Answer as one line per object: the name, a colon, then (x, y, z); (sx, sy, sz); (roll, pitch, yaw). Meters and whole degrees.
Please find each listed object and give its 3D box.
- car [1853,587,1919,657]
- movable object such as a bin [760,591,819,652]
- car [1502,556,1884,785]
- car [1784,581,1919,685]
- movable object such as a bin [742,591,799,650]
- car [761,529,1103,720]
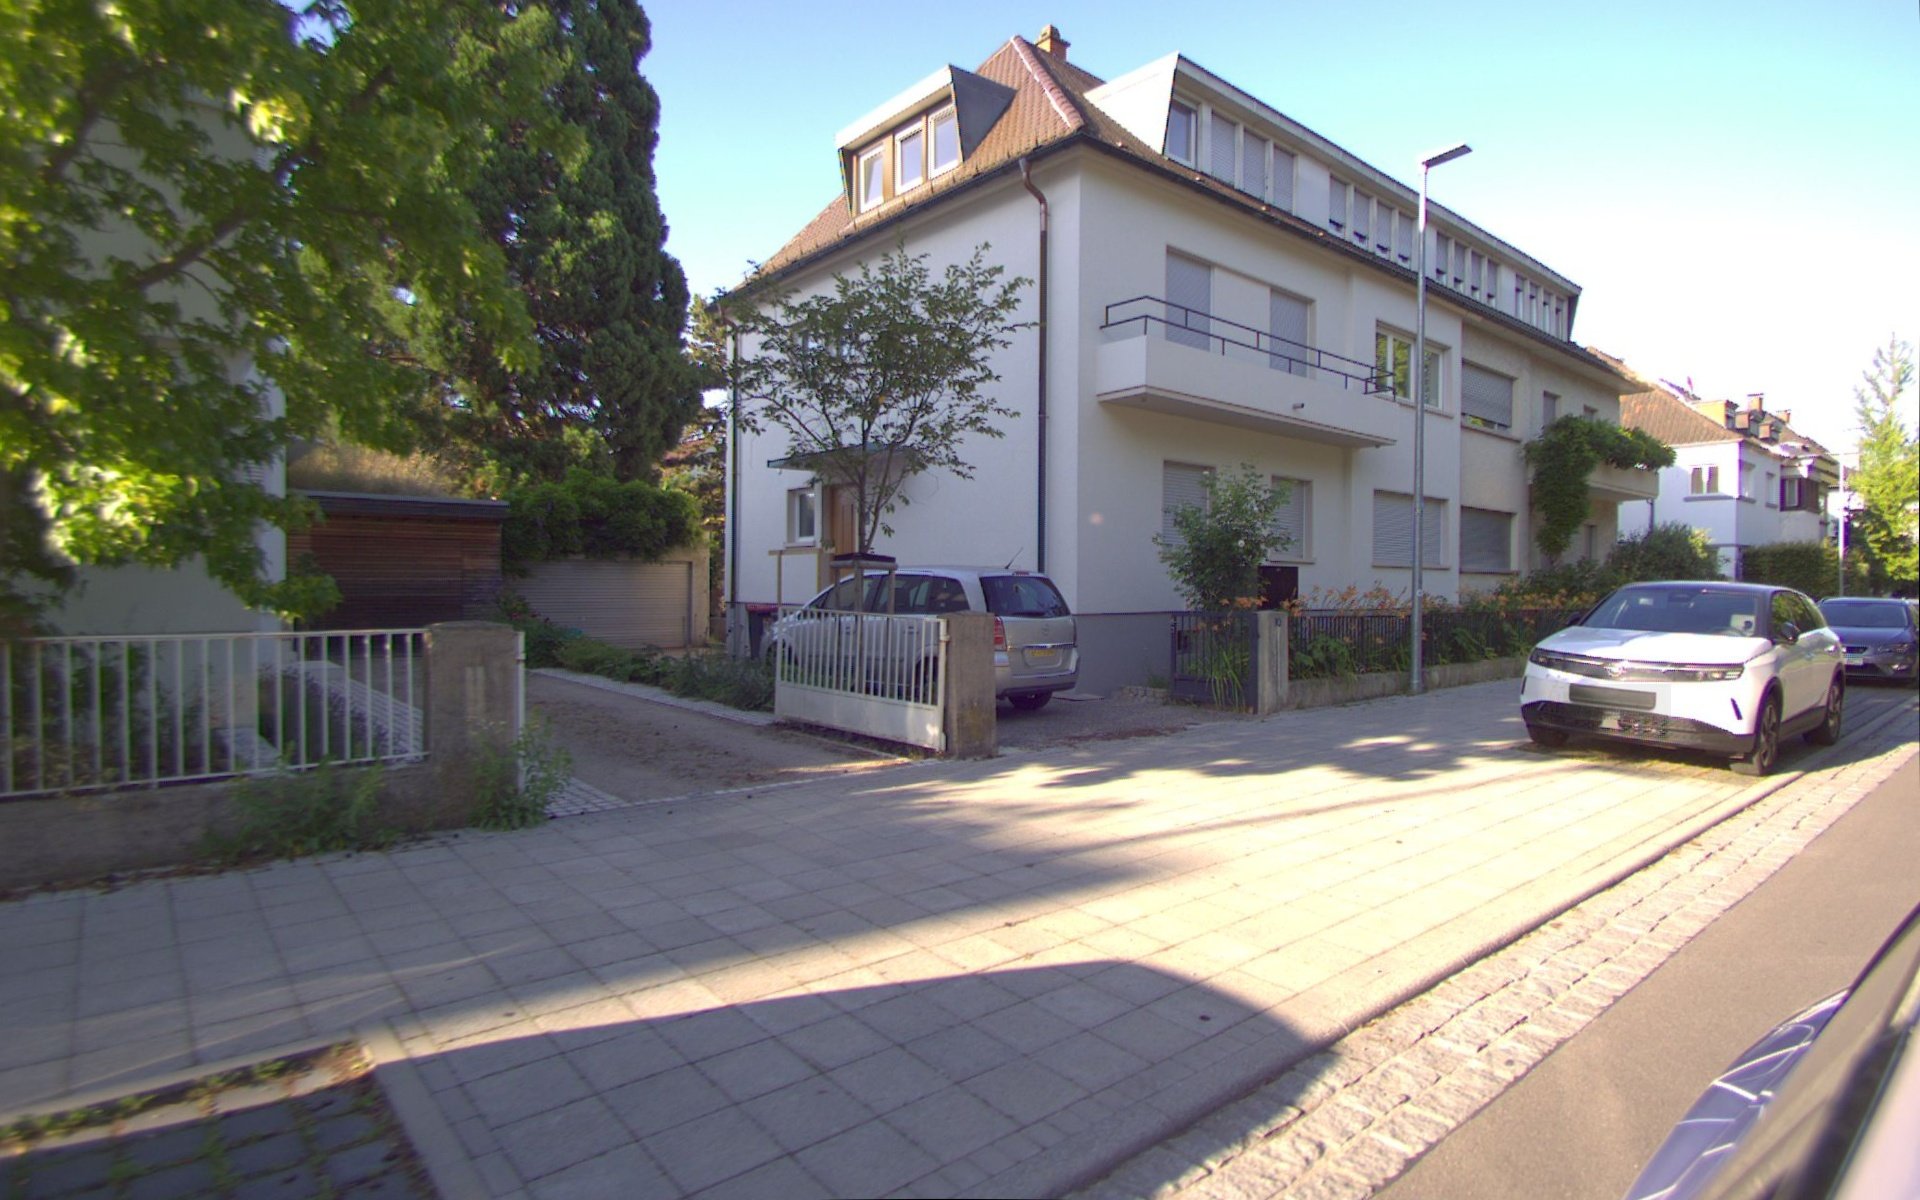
car: (21.377, 0.474, 22.445); (4.007, 1.397, 1.798); (0, 3, -41)
movable object such as a bin: (-2.791, 0.335, 16.559); (0.720, 0.971, 0.652); (0, 0, -40)
car: (7.380, 0.535, 10.017); (4.492, 1.729, 1.911); (1, 3, -39)
car: (15.829, 0.496, 17.440); (4.120, 1.512, 1.798); (0, 3, -41)
movable object such as a bin: (-3.203, 0.333, 17.100); (0.720, 0.971, 0.652); (0, 0, -40)
car: (-0.454, 0.259, 11.948); (3.983, 1.869, 1.786); (0, -1, 44)
